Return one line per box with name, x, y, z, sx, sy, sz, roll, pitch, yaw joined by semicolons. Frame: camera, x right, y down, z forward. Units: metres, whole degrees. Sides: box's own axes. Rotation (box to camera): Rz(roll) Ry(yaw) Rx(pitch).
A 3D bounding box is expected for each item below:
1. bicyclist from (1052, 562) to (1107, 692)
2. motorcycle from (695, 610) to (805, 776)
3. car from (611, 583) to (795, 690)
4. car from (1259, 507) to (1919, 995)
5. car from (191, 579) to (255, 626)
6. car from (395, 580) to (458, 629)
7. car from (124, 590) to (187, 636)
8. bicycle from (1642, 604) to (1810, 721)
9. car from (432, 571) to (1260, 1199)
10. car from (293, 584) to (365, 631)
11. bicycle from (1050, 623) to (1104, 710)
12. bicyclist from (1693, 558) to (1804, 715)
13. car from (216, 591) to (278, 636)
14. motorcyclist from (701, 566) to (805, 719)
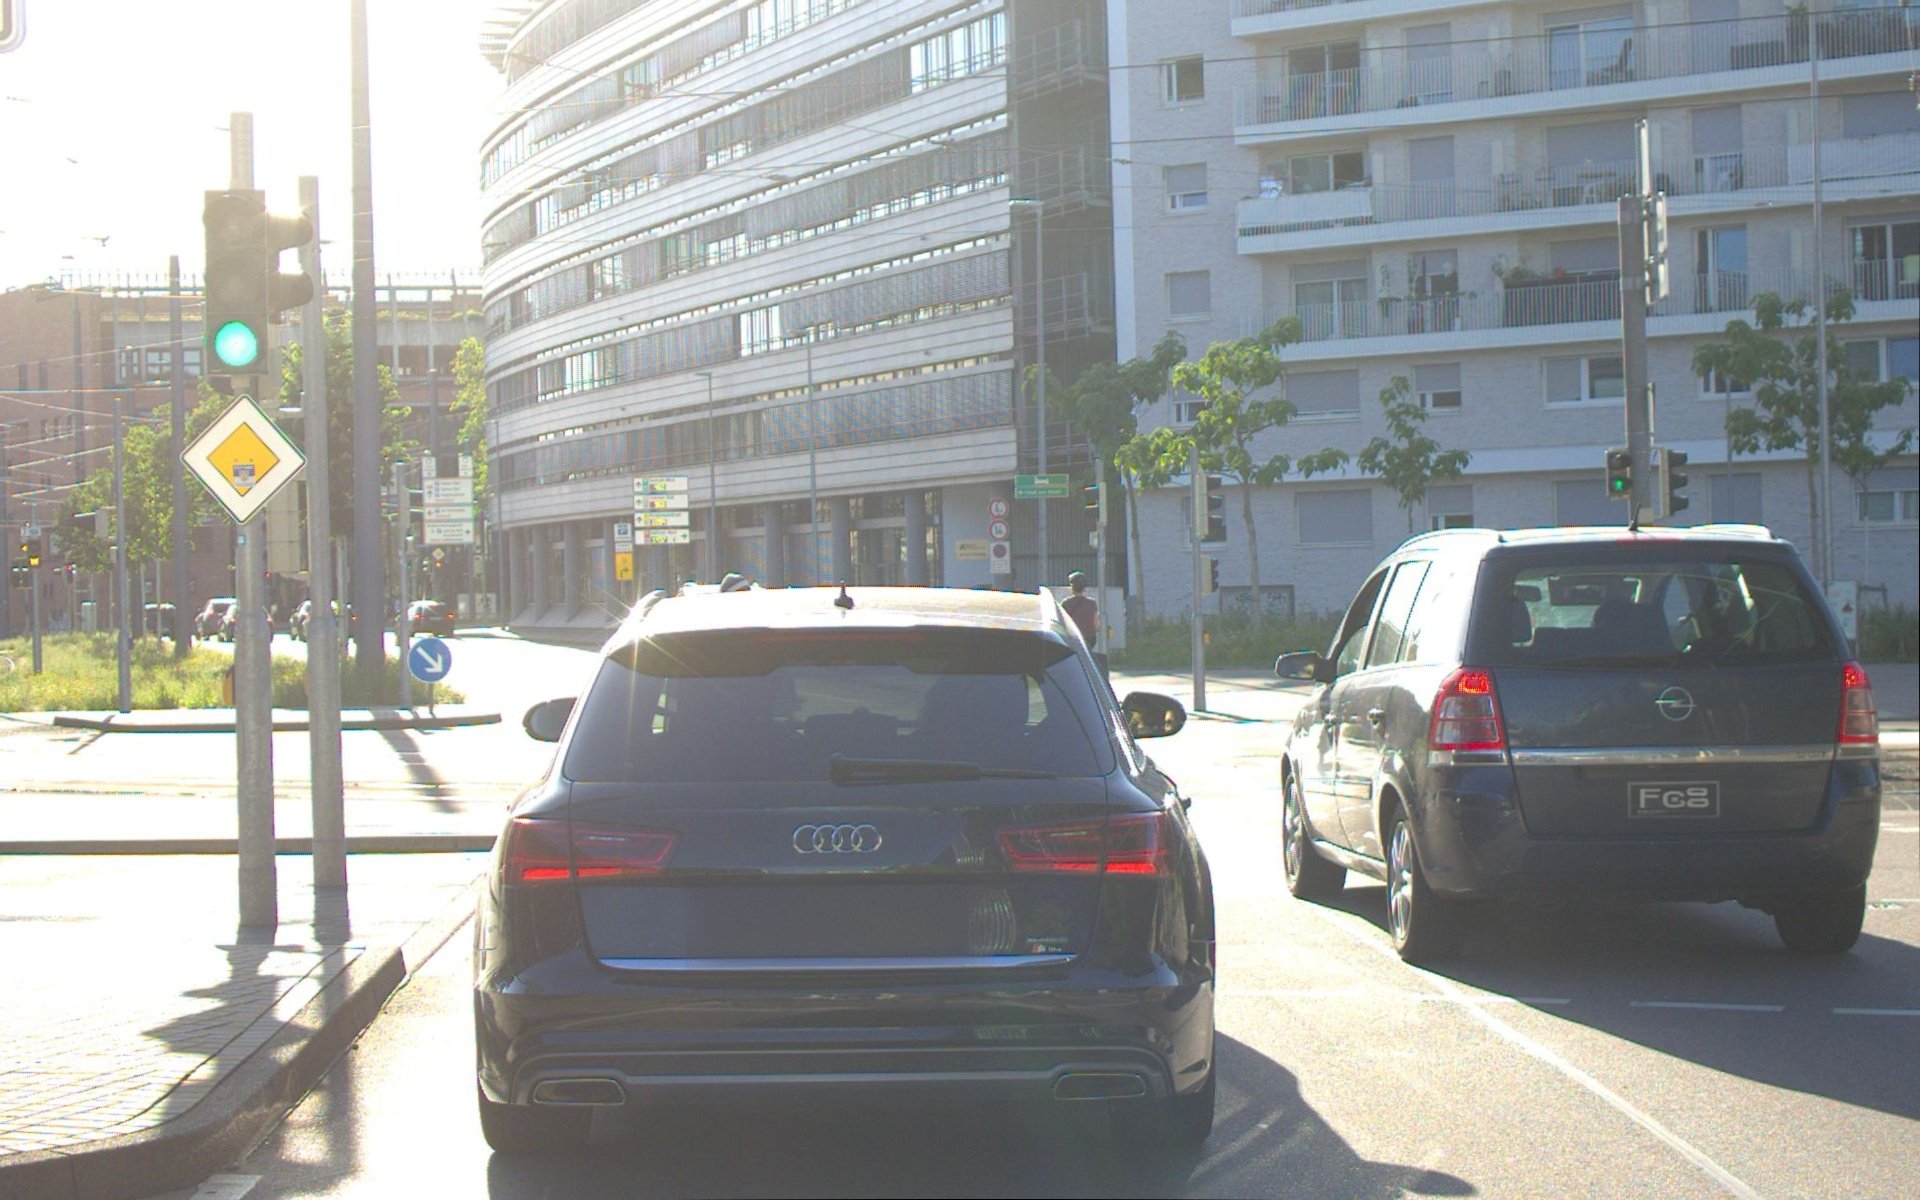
bicyclist;1.532;0.336;43.940;0.654;1.637;0.972;-1;1;3
motorcycle;-1.865;0.798;30.327;0.862;1.388;1.894;-1;0;-6
car;-4.423;0.589;58.538;2.002;1.709;4.373;0;1;-20
car;2.395;0.524;14.150;1.745;1.690;4.261;1;0;-3
car;-29.084;0.112;135.587;1.993;1.700;4.001;-2;0;-19
car;-21.720;0.191;139.895;1.993;1.831;4.001;-2;0;-16
car;-31.664;0.517;135.265;1.993;1.700;4.001;-2;0;-19
bicycle;8.558;0.689;38.497;0.766;1.258;2.082;-1;0;-22
car;-0.286;0.652;9.681;1.842;1.449;4.000;0;1;-1
car;-23.411;0.290;127.551;1.993;1.590;4.001;-2;0;-19
bicycle;1.504;0.841;43.946;0.654;1.039;1.929;-1;1;3
bicyclist;8.727;0.397;38.073;0.766;1.700;0.930;-1;0;-22
car;-26.960;0.520;129.890;1.993;1.590;4.001;-2;0;-16
motorcyclist;-1.834;0.371;30.379;0.862;1.322;0.681;-1;0;-6
